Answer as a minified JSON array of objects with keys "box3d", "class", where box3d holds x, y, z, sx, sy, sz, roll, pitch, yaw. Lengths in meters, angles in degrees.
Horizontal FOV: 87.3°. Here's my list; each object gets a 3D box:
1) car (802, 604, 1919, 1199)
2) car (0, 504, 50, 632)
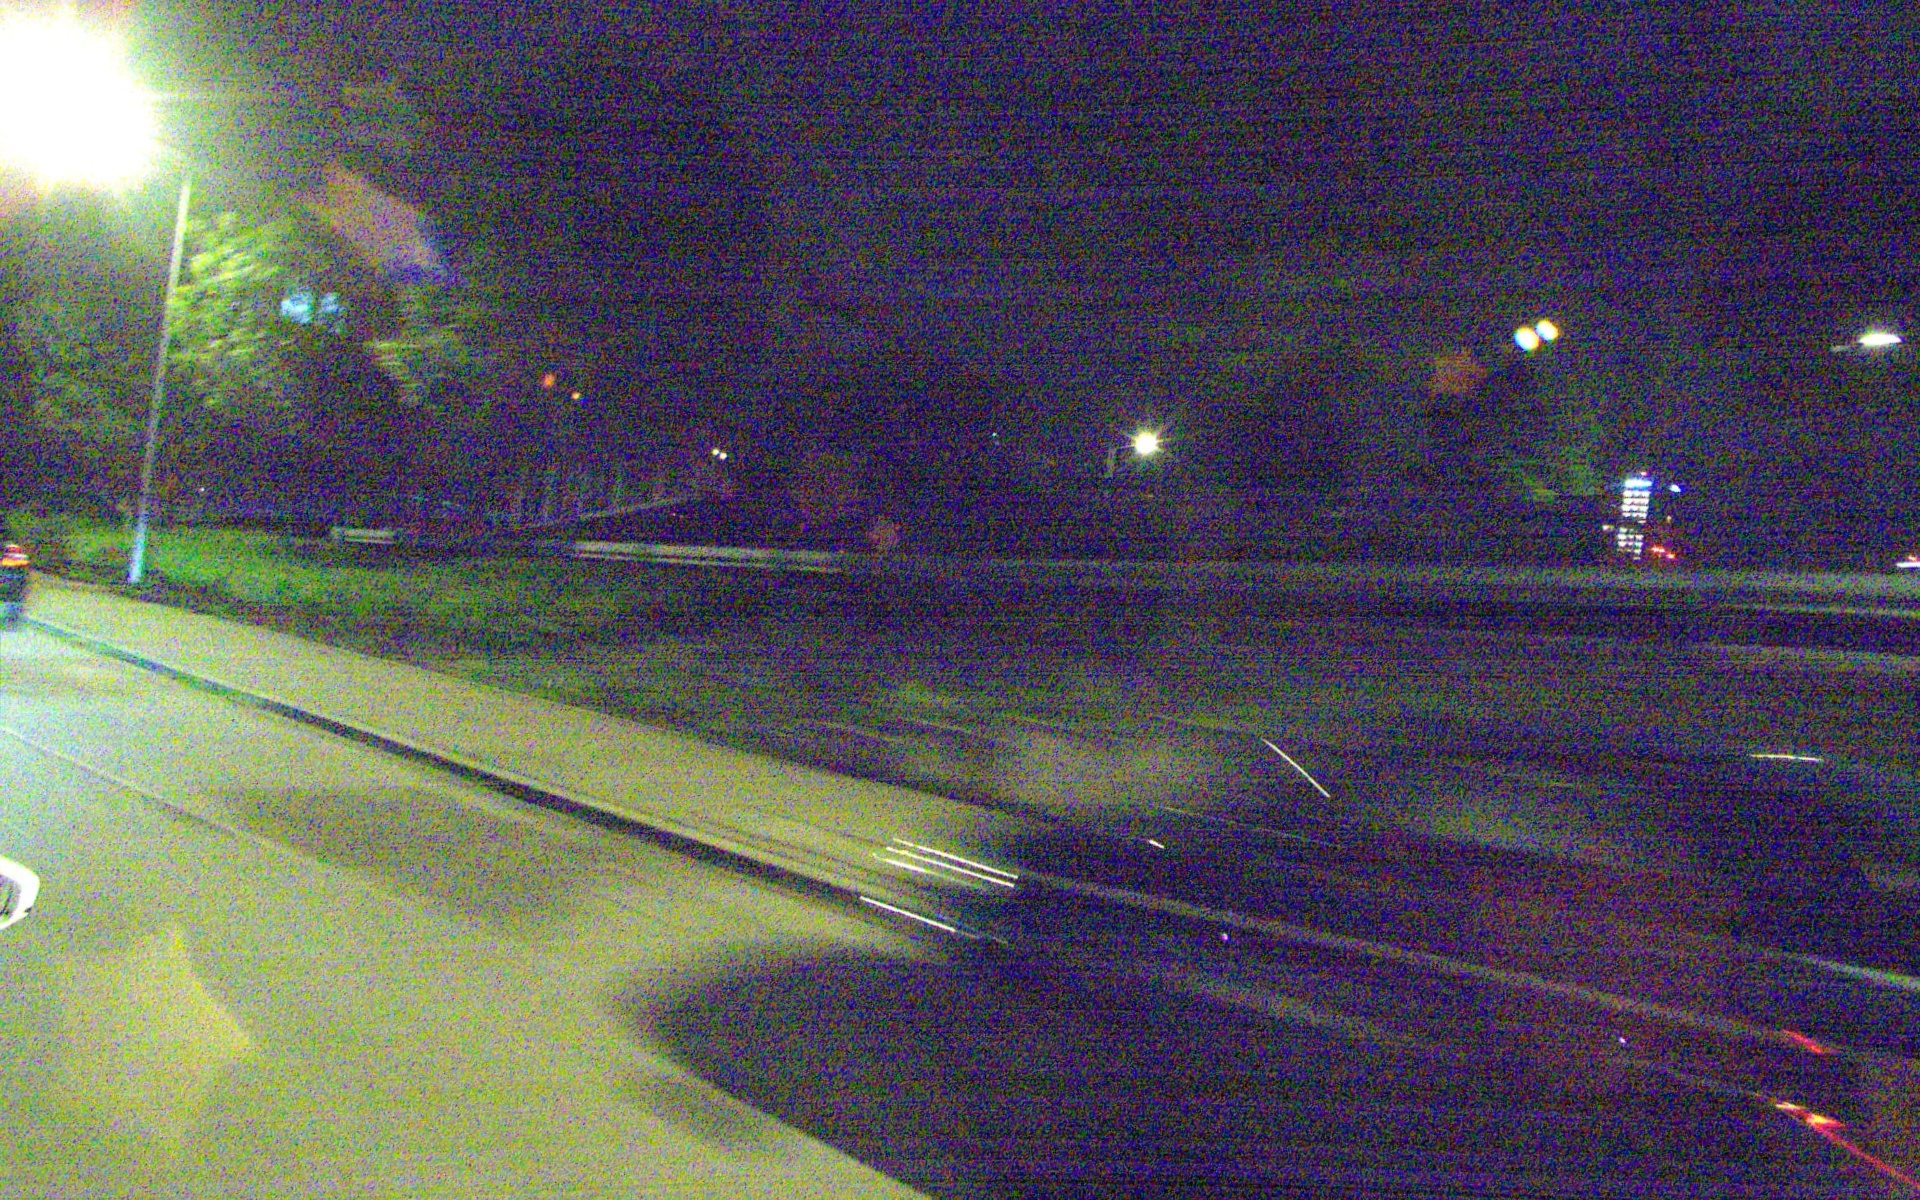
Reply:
[{"box3d":[1.607,1.054,2.910,3.761,1.528,1.613,7,-3,31],"class":"car"},{"box3d":[-13.609,-0.641,12.922,3.934,1.525,1.714,7,-1,32],"class":"car"}]
